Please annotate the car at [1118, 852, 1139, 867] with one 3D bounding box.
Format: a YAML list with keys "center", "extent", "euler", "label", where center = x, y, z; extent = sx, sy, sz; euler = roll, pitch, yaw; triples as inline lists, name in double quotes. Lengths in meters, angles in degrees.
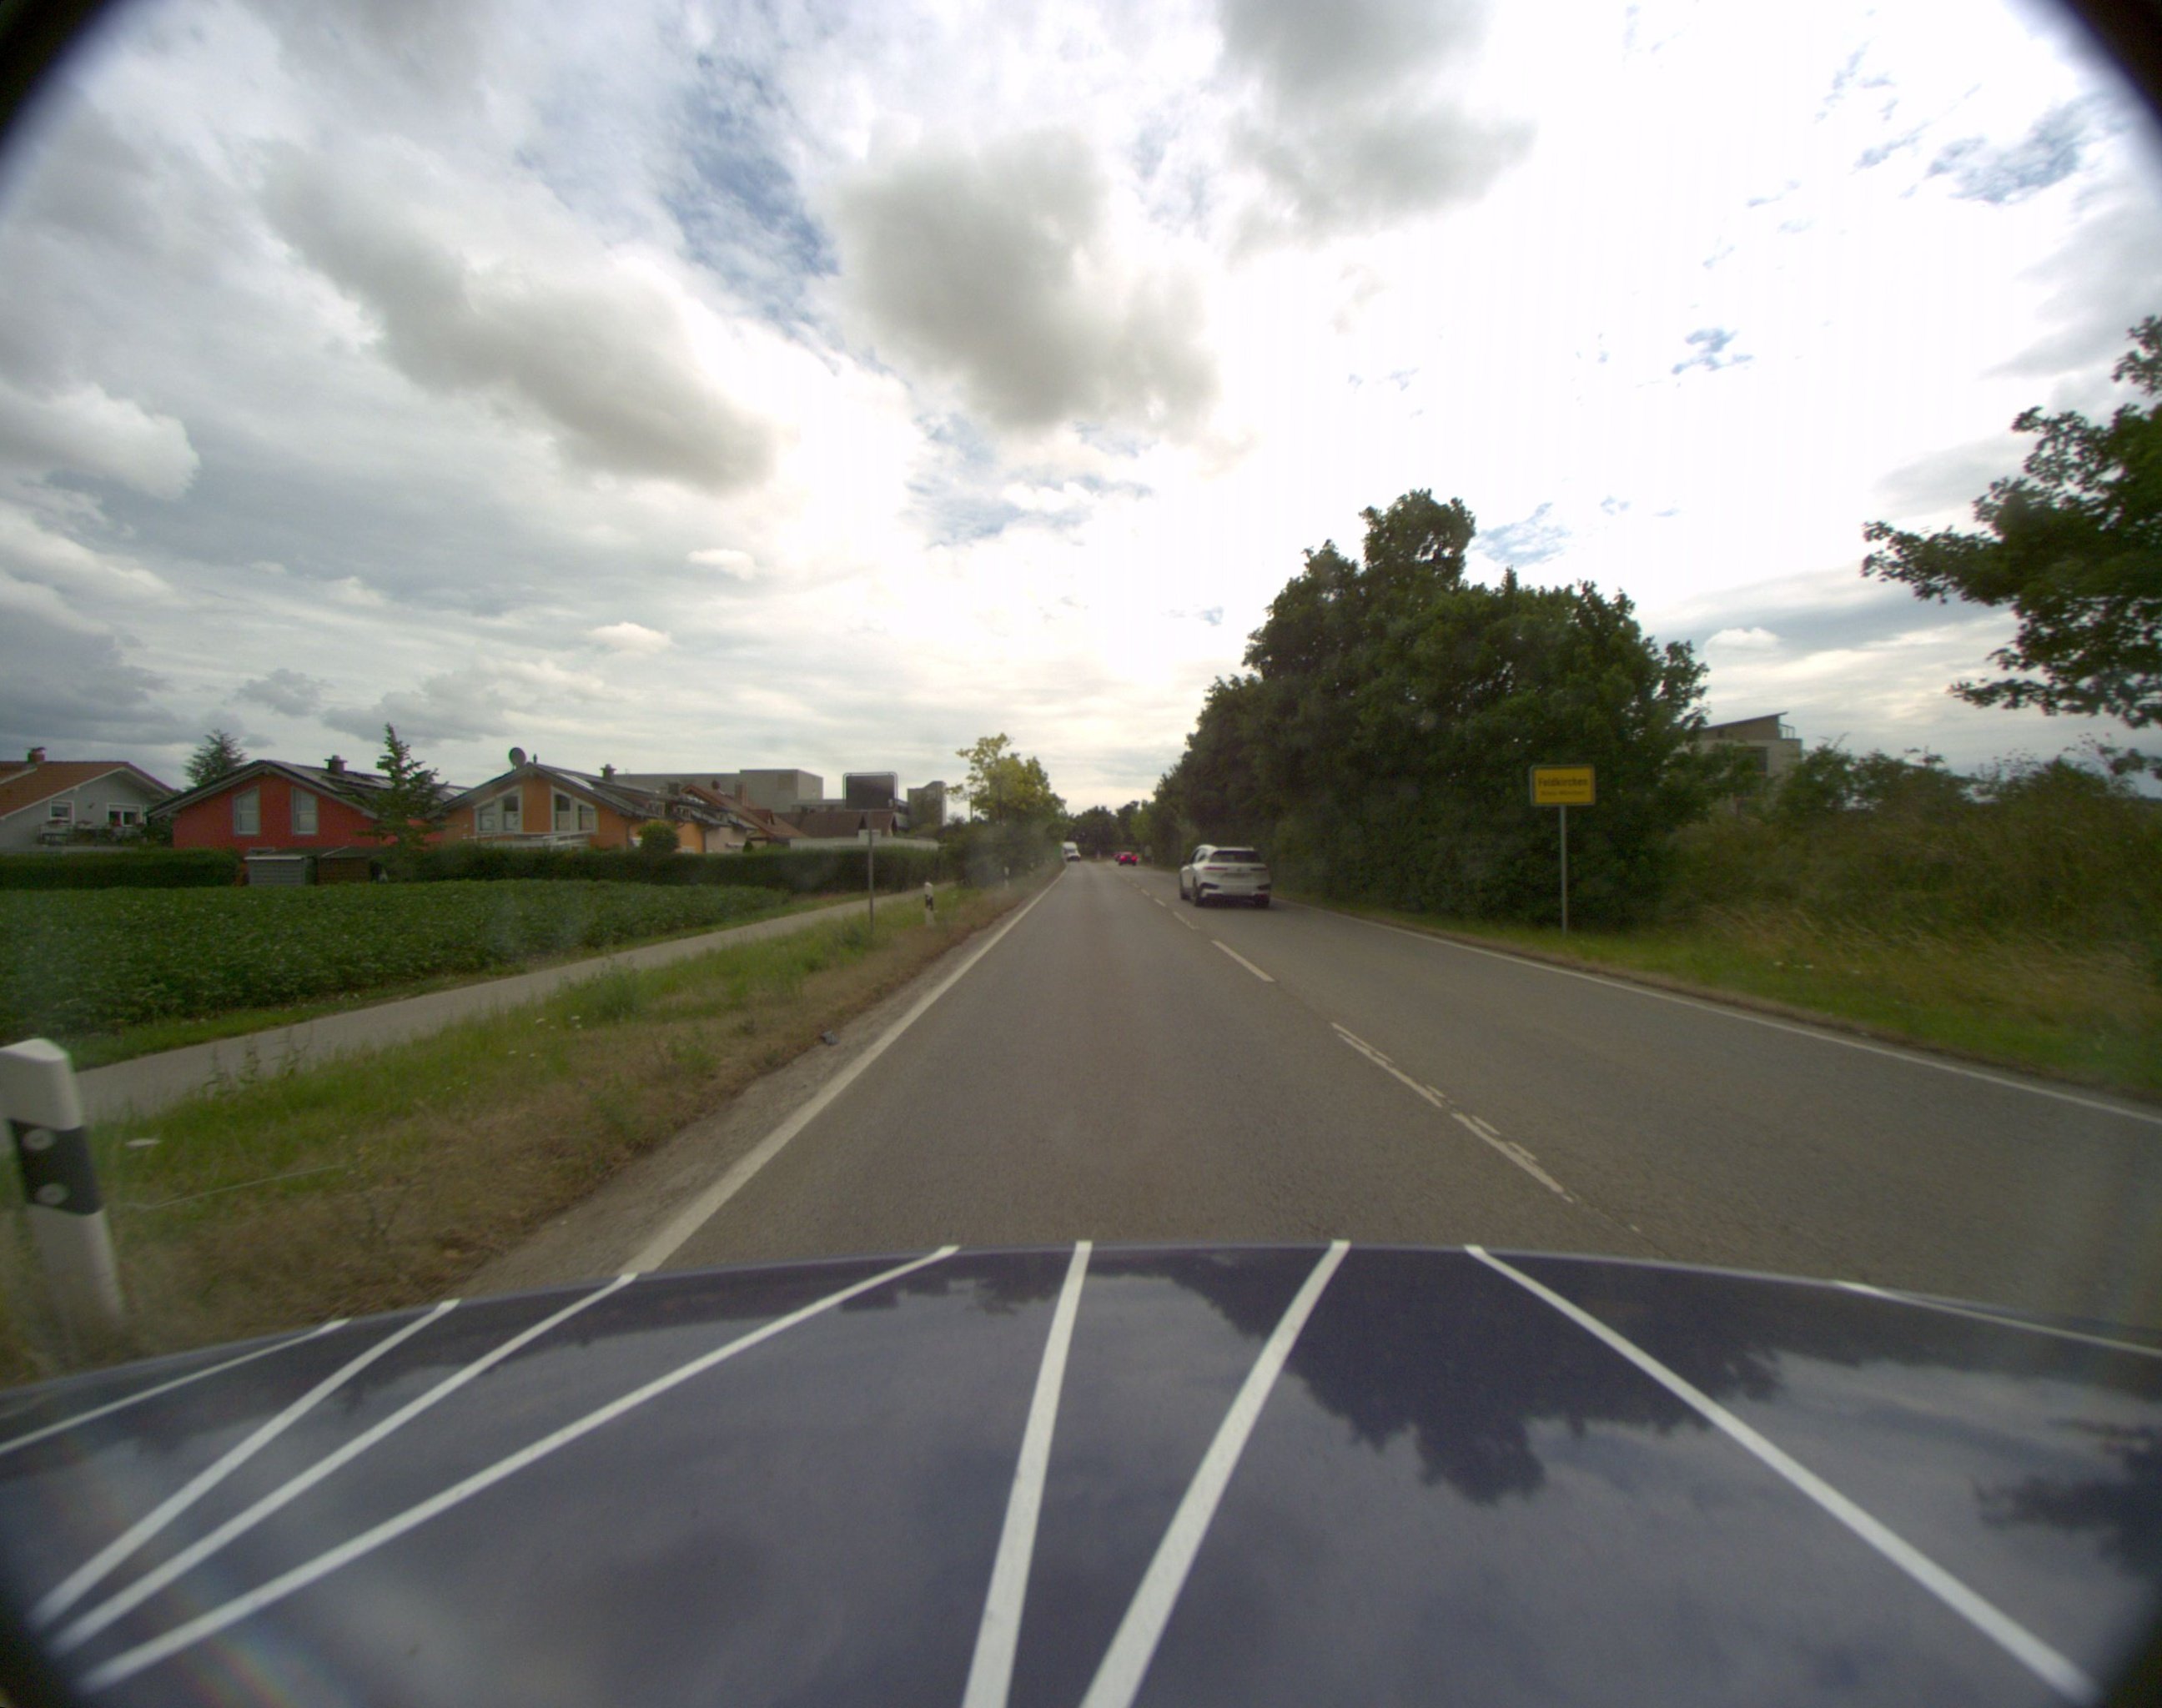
- center: [5.307, 0.614, 85.811]
  extent: [1.945, 1.577, 4.554]
  euler: [1, 1, -2]
  label: "car"

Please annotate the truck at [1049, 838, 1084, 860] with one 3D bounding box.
- center: [-2.422, -0.813, 125.718]
  extent: [2.620, 3.428, 7.490]
  euler: [-2, 1, -28]
  label: "truck"

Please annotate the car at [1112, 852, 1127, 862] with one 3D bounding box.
- center: [6.151, 0.451, 120.904]
  extent: [1.999, 1.411, 4.476]
  euler: [1, 1, -2]
  label: "car"

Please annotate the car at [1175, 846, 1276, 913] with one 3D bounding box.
- center: [3.969, 0.641, 21.683]
  extent: [1.998, 1.674, 4.809]
  euler: [1, 0, 1]
  label: "car"
